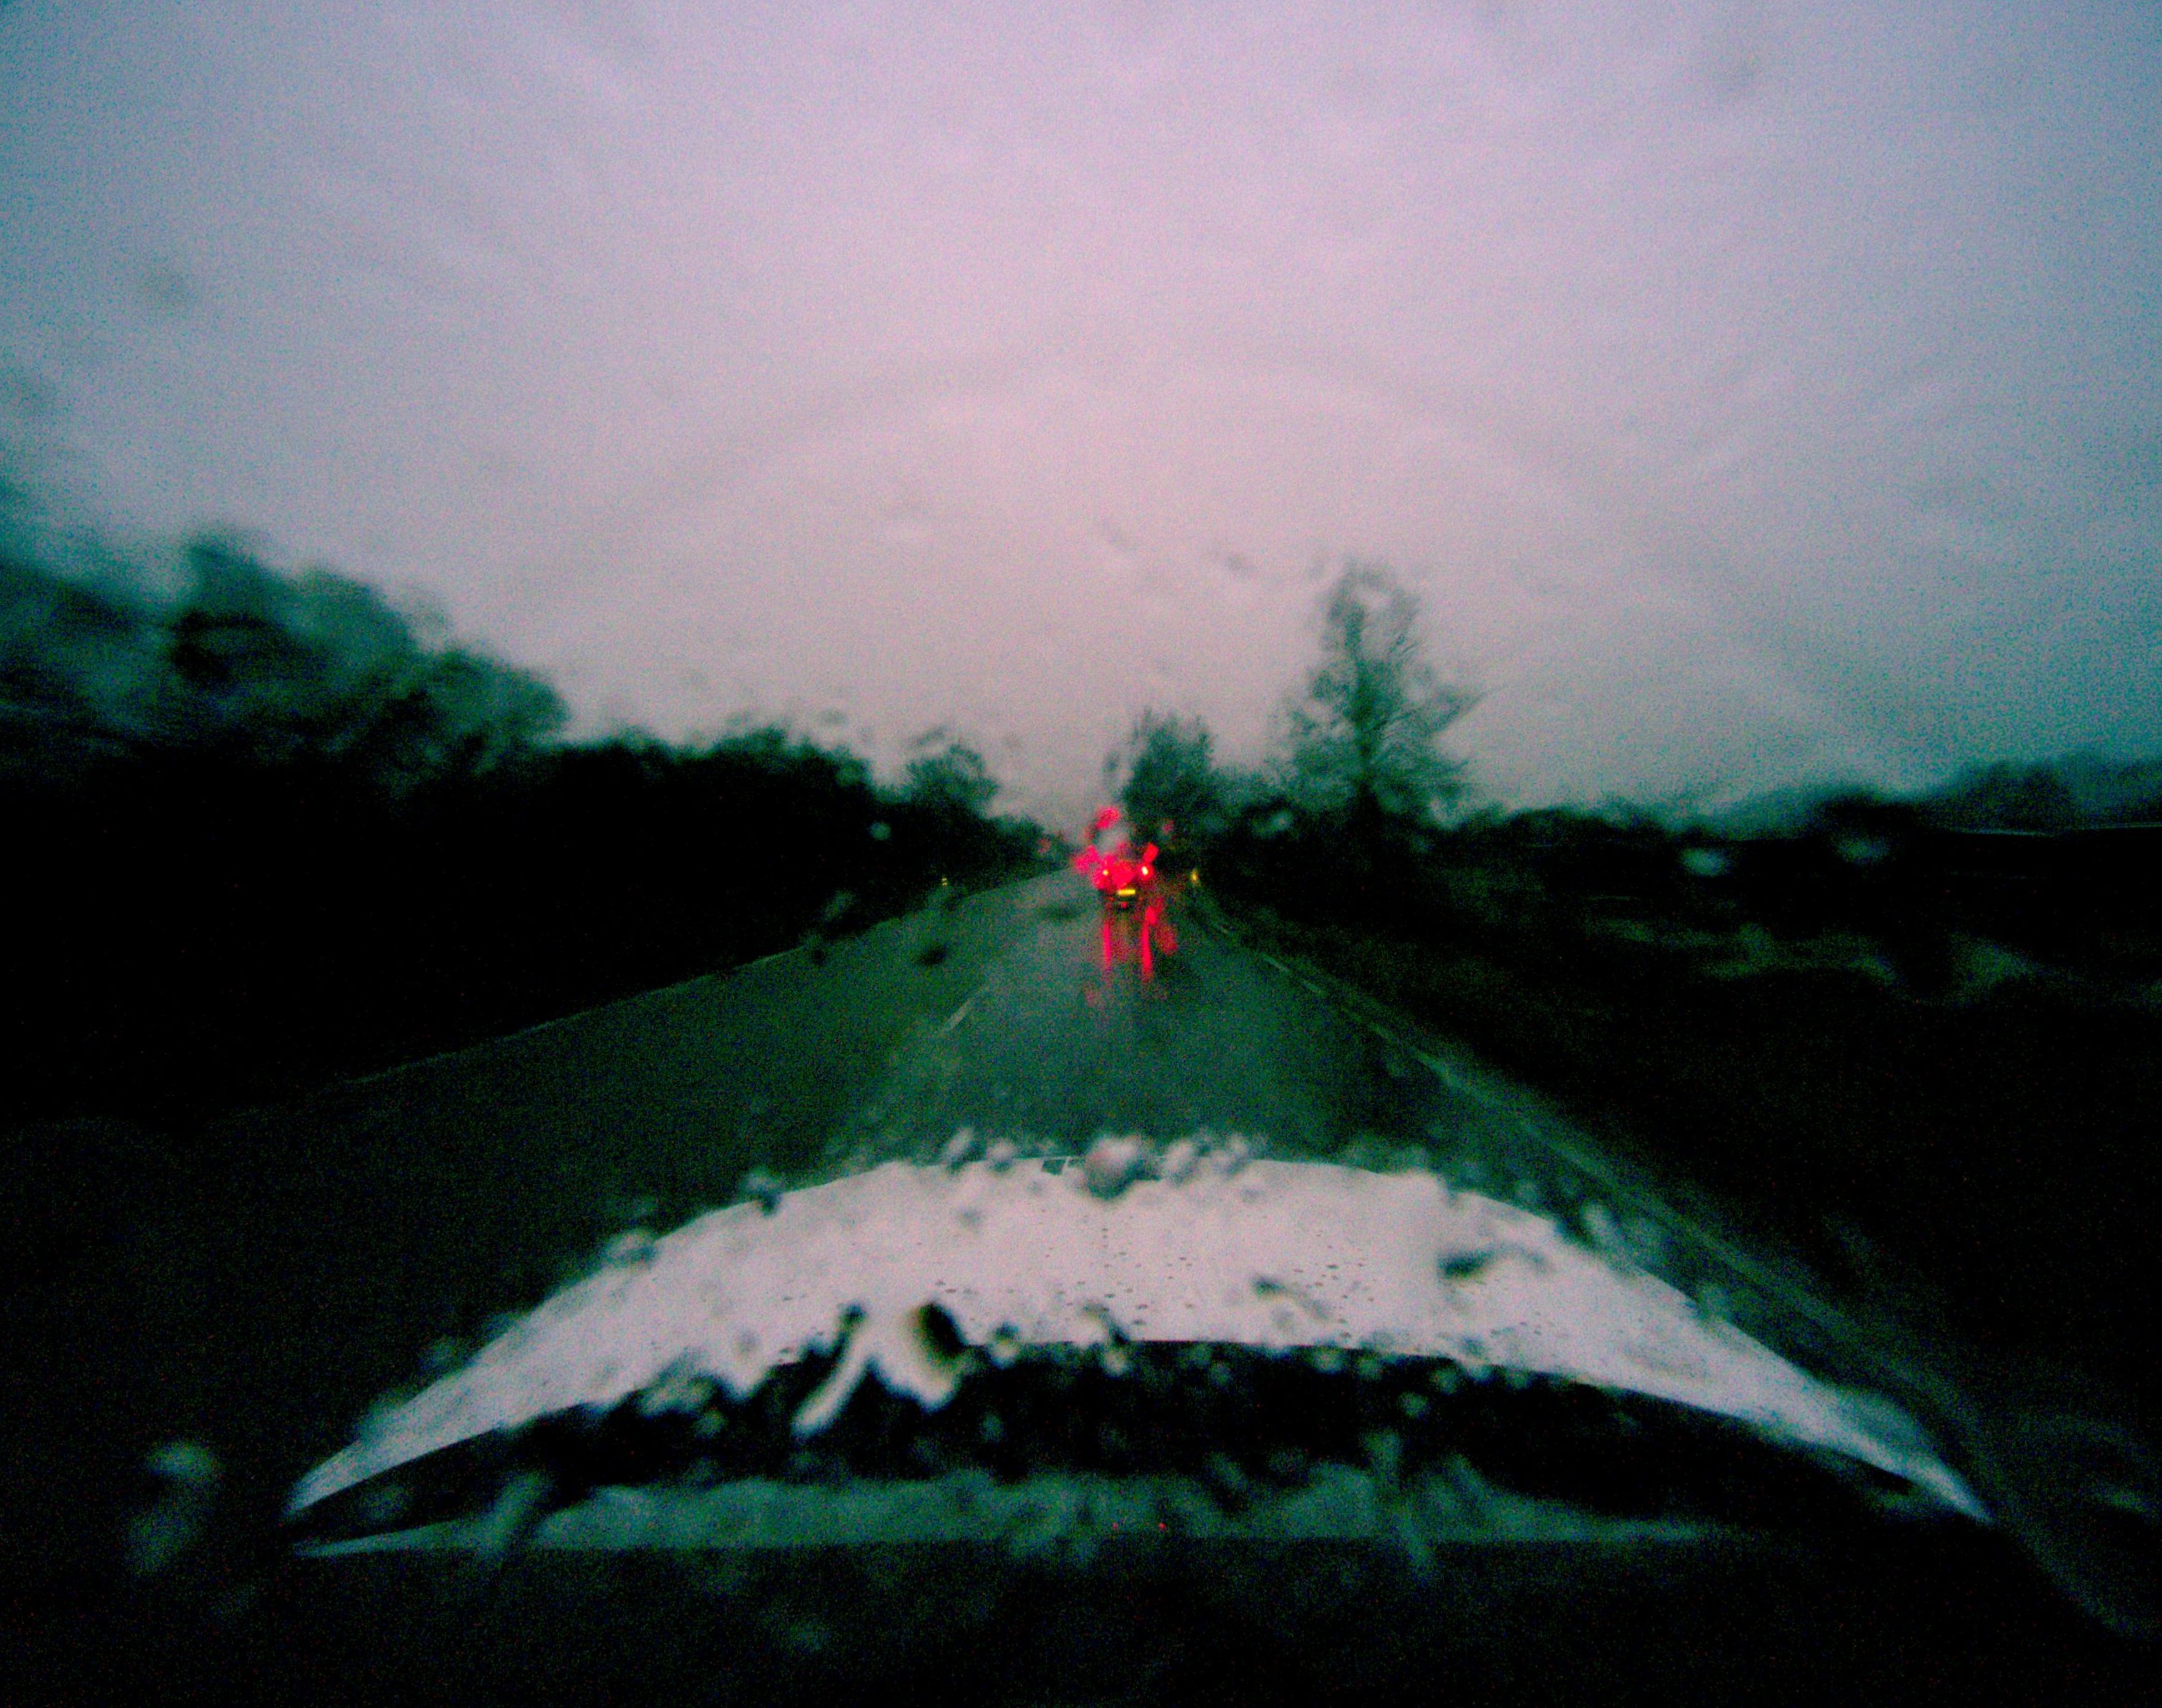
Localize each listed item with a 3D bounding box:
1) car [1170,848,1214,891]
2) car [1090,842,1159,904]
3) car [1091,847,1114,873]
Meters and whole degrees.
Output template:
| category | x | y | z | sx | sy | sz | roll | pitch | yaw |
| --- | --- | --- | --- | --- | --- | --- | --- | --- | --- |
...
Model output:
| category | x | y | z | sx | sy | sz | roll | pitch | yaw |
| --- | --- | --- | --- | --- | --- | --- | --- | --- | --- |
| car | 4.354 | 0.568 | 32.239 | 1.556 | 1.591 | 3.493 | 0 | 0 | 5 |
| car | 1.369 | 0.556 | 25.528 | 1.985 | 1.784 | 4.004 | 0 | 0 | 3 |
| car | 1.629 | 0.452 | 60.384 | 1.568 | 1.875 | 3.712 | 0 | 0 | 3 |
